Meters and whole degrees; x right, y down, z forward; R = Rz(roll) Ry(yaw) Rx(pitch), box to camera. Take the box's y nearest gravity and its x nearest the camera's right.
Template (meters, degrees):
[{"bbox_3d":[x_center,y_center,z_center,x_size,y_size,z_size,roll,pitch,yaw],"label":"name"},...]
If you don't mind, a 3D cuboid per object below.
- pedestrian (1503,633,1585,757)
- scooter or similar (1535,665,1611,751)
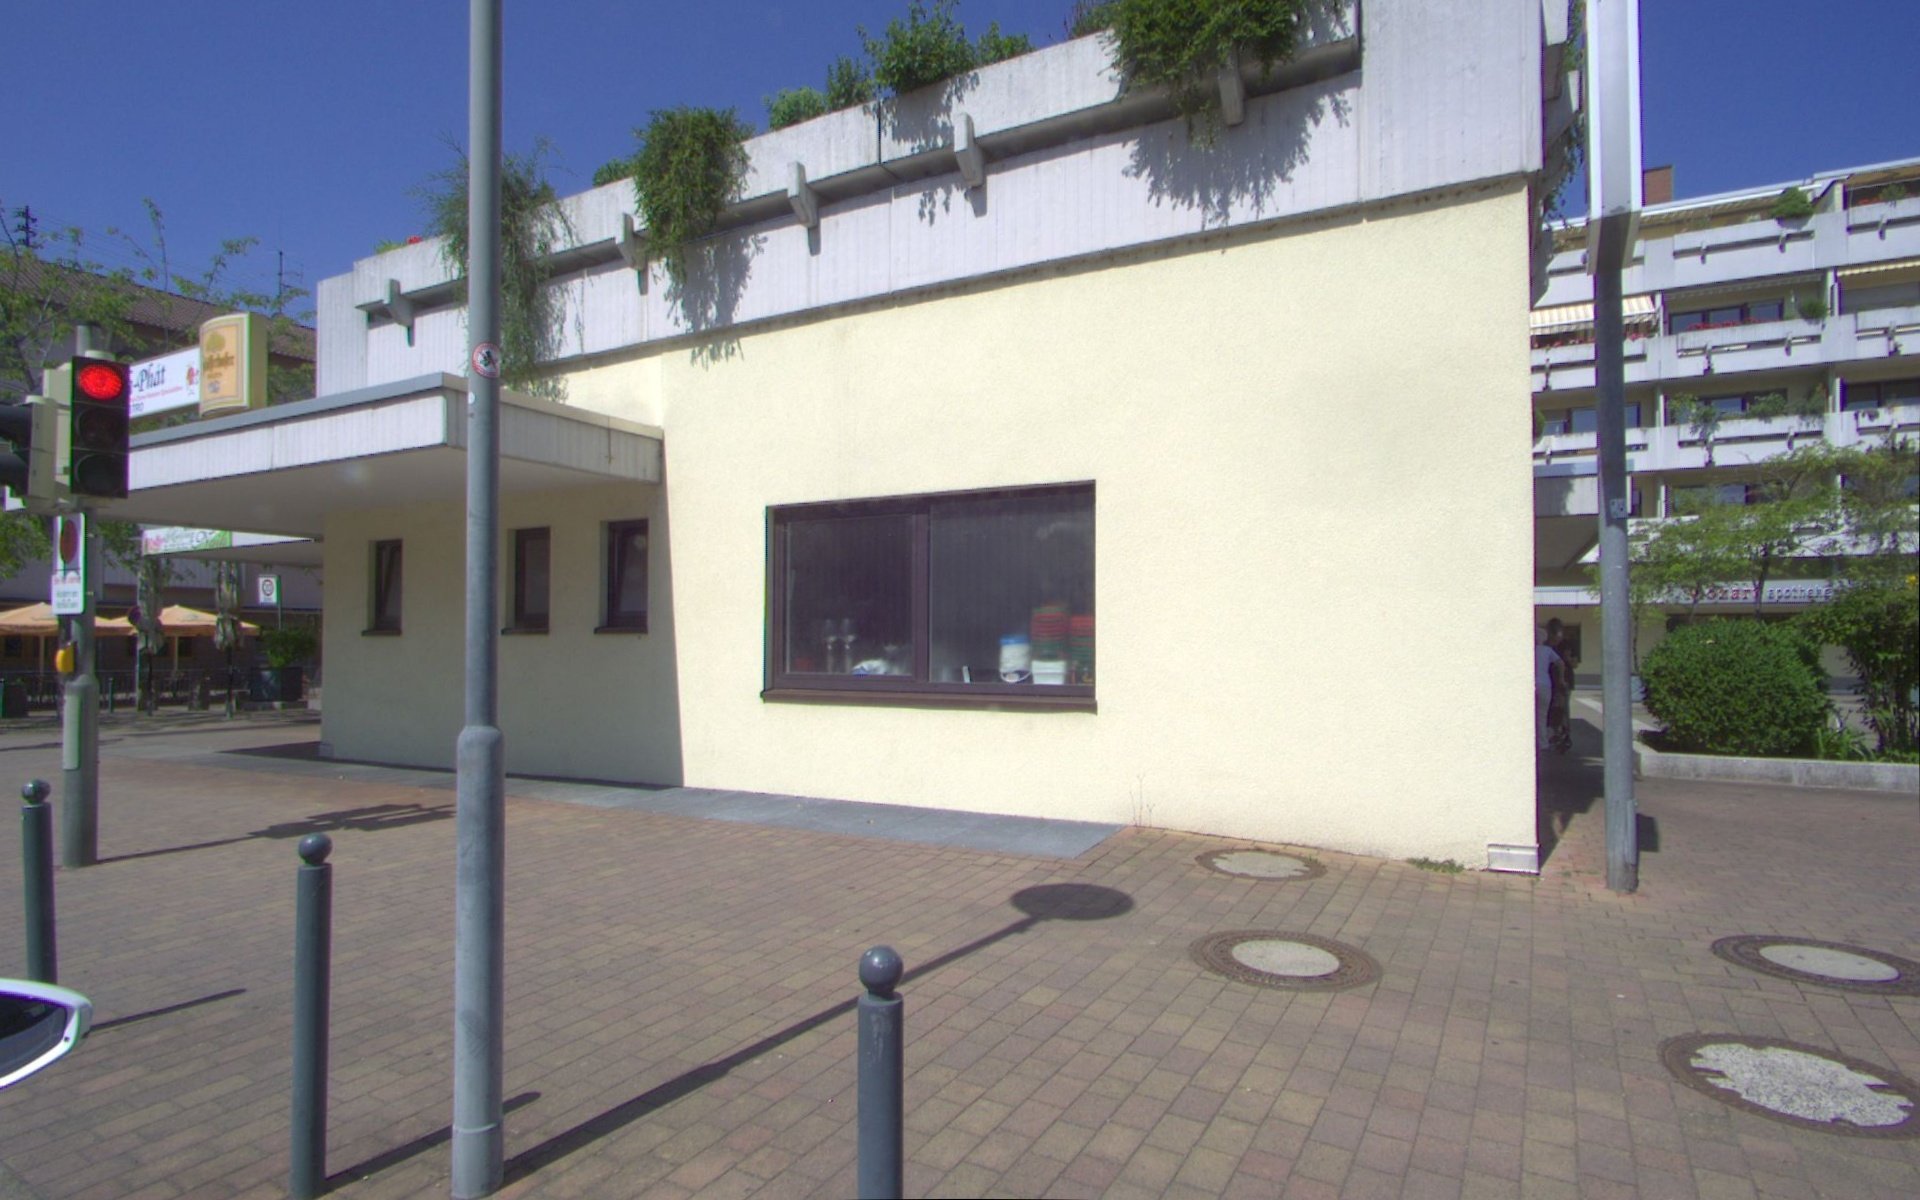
[{"bbox_3d":[7.471,1.191,12.804,0.801,1.516,0.615,1,-2,-35],"label":"pedestrian"},{"bbox_3d":[8.118,1.413,13.271,0.795,1.088,0.587,2,-2,-35],"label":"scooter or similar"}]
